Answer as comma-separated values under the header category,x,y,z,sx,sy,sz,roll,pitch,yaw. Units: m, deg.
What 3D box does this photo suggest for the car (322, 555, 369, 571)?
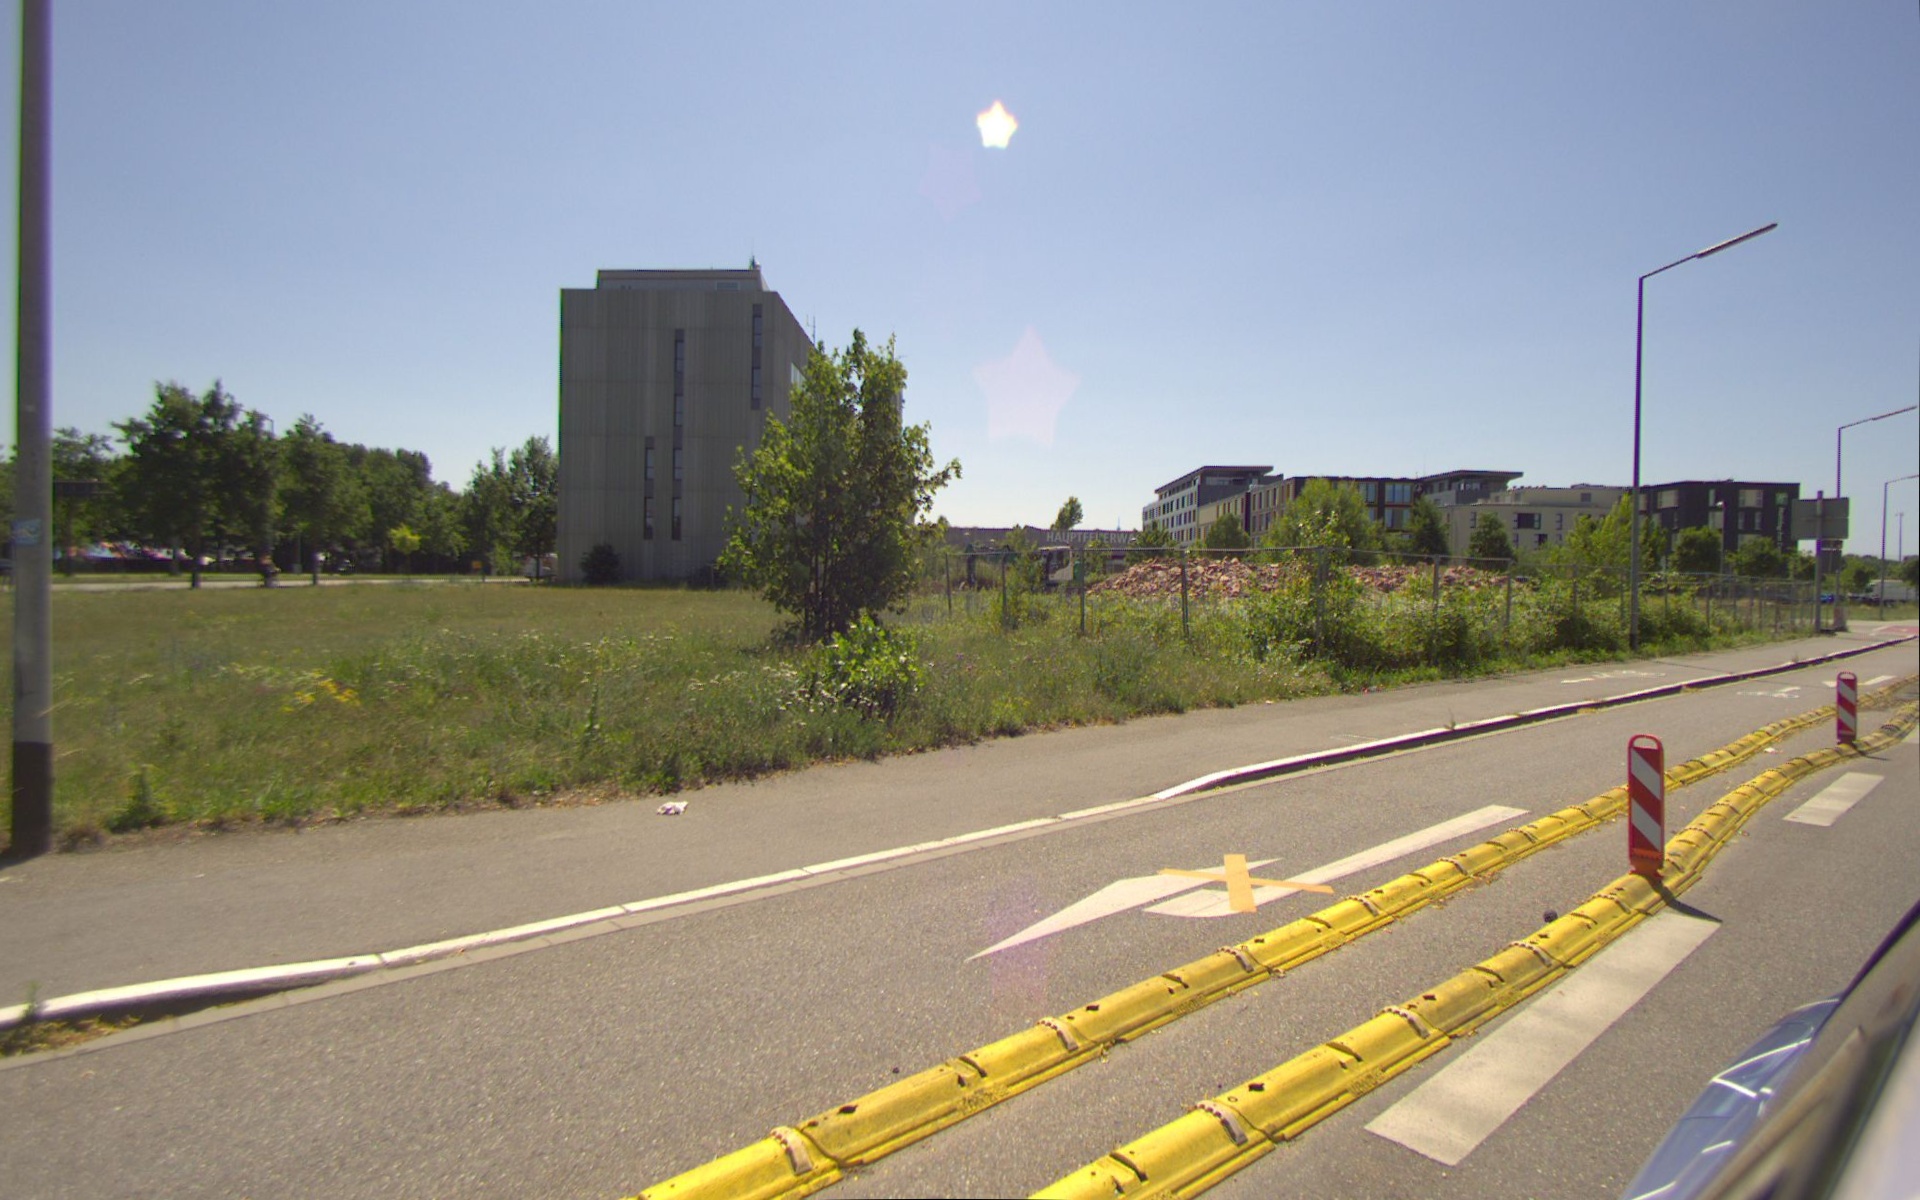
category,x,y,z,sx,sy,sz,roll,pitch,yaw
car,-59.916,-3.608,98.793,1.830,1.440,4.407,1,1,2

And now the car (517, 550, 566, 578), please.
category,x,y,z,sx,sy,sz,roll,pitch,yaw
car,-42.026,-3.600,101.747,2.220,2.622,6.394,0,1,0

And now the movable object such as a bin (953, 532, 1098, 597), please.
category,x,y,z,sx,sy,sz,roll,pitch,yaw
movable object such as a bin,3.503,-1.806,53.152,7.458,3.188,2.815,-1,0,-34
